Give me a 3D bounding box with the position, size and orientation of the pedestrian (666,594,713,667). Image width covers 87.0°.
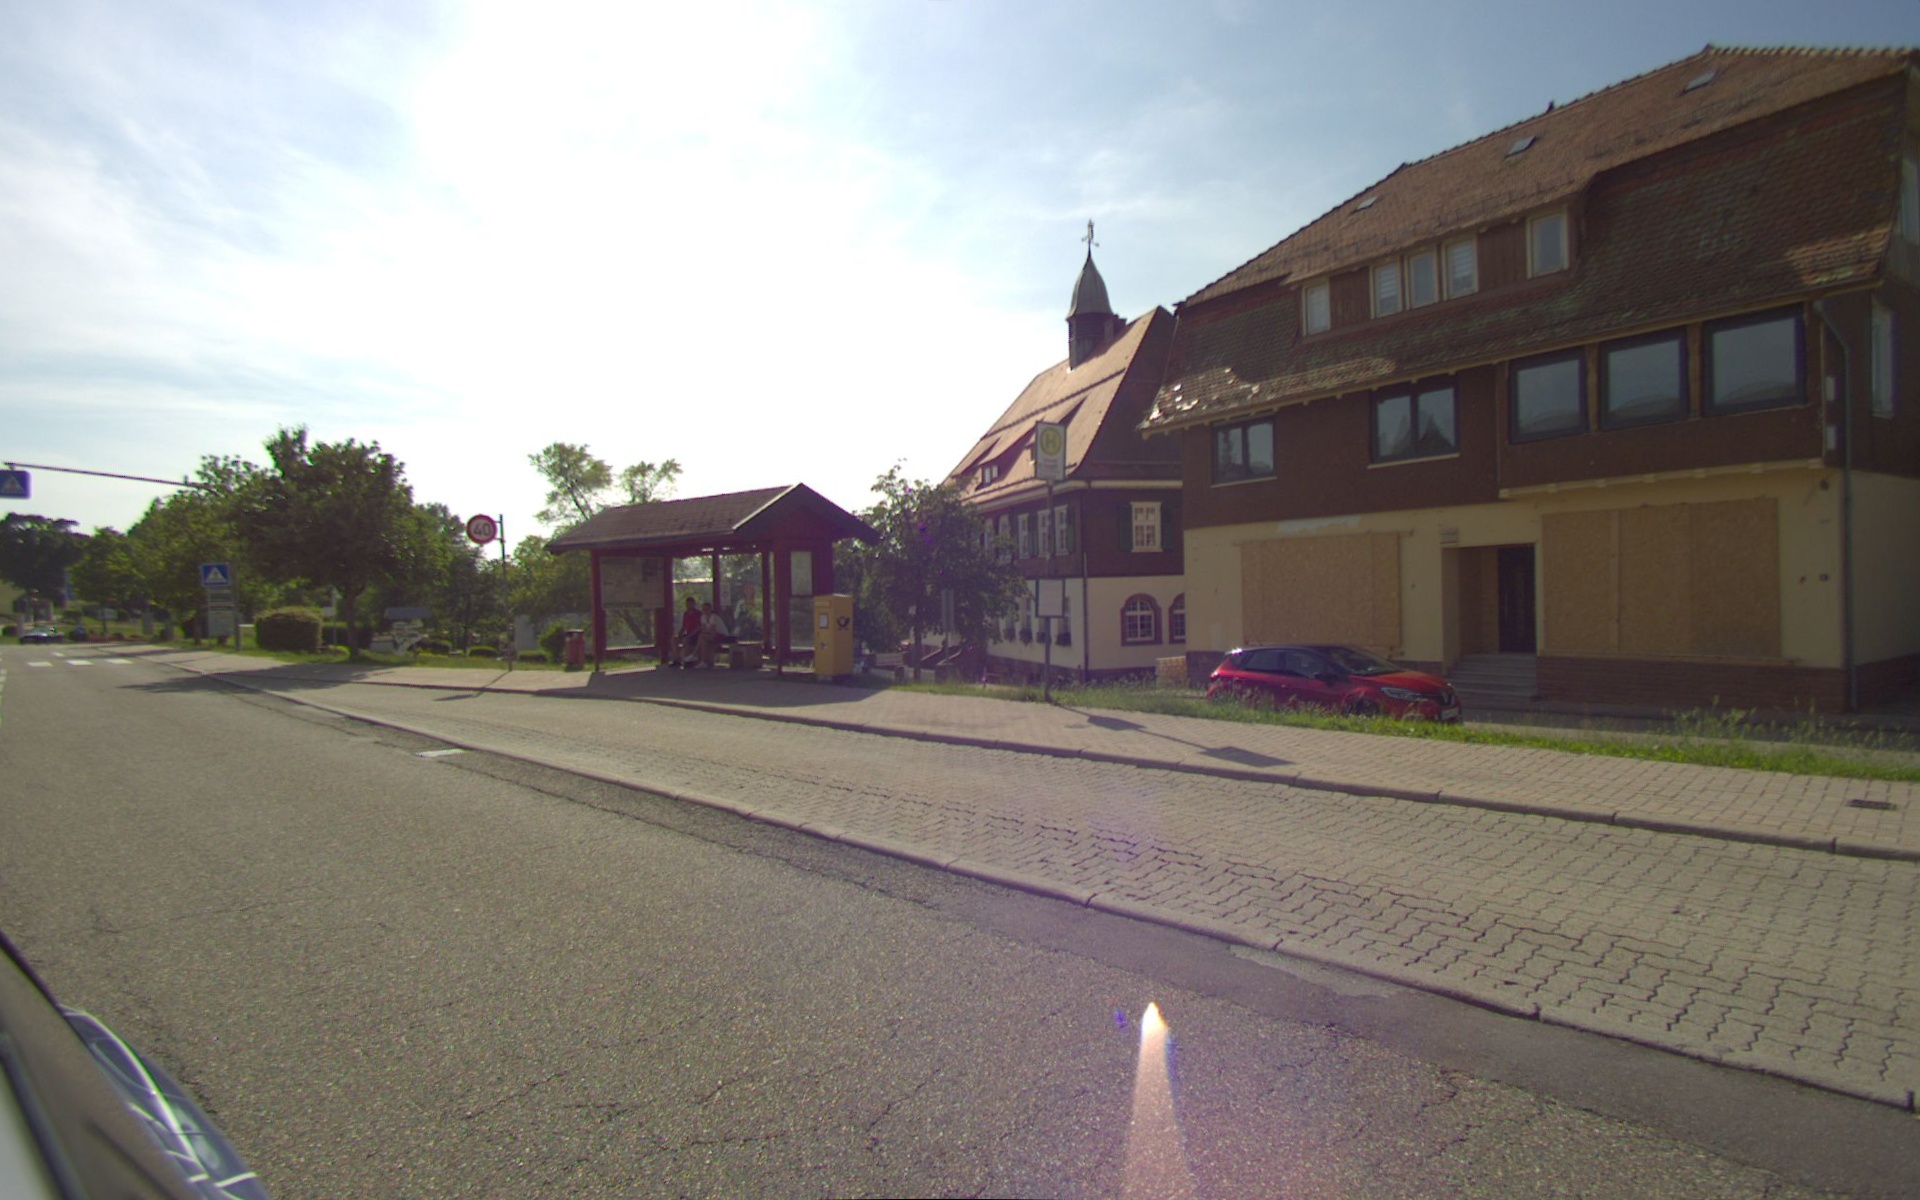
[{"bbox_3d":[-5.242,0.598,19.637,0.673,1.375,0.611,-3,-4,40],"label":"pedestrian"}]

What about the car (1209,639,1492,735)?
[{"bbox_3d":[6.124,1.297,16.302,1.697,1.307,4.010,1,-2,-34],"label":"car"}]

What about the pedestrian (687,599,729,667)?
[{"bbox_3d":[-4.792,0.631,19.253,0.423,1.262,0.623,-1,-3,39],"label":"pedestrian"}]

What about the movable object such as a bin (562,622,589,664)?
[{"bbox_3d":[-7.785,0.867,20.496,0.485,0.843,0.302,-1,-1,39],"label":"movable object such as a bin"}]

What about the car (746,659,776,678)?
[{"bbox_3d":[-17.642,6.055,89.524,1.542,1.652,2.978,2,-4,-35],"label":"car"}]
